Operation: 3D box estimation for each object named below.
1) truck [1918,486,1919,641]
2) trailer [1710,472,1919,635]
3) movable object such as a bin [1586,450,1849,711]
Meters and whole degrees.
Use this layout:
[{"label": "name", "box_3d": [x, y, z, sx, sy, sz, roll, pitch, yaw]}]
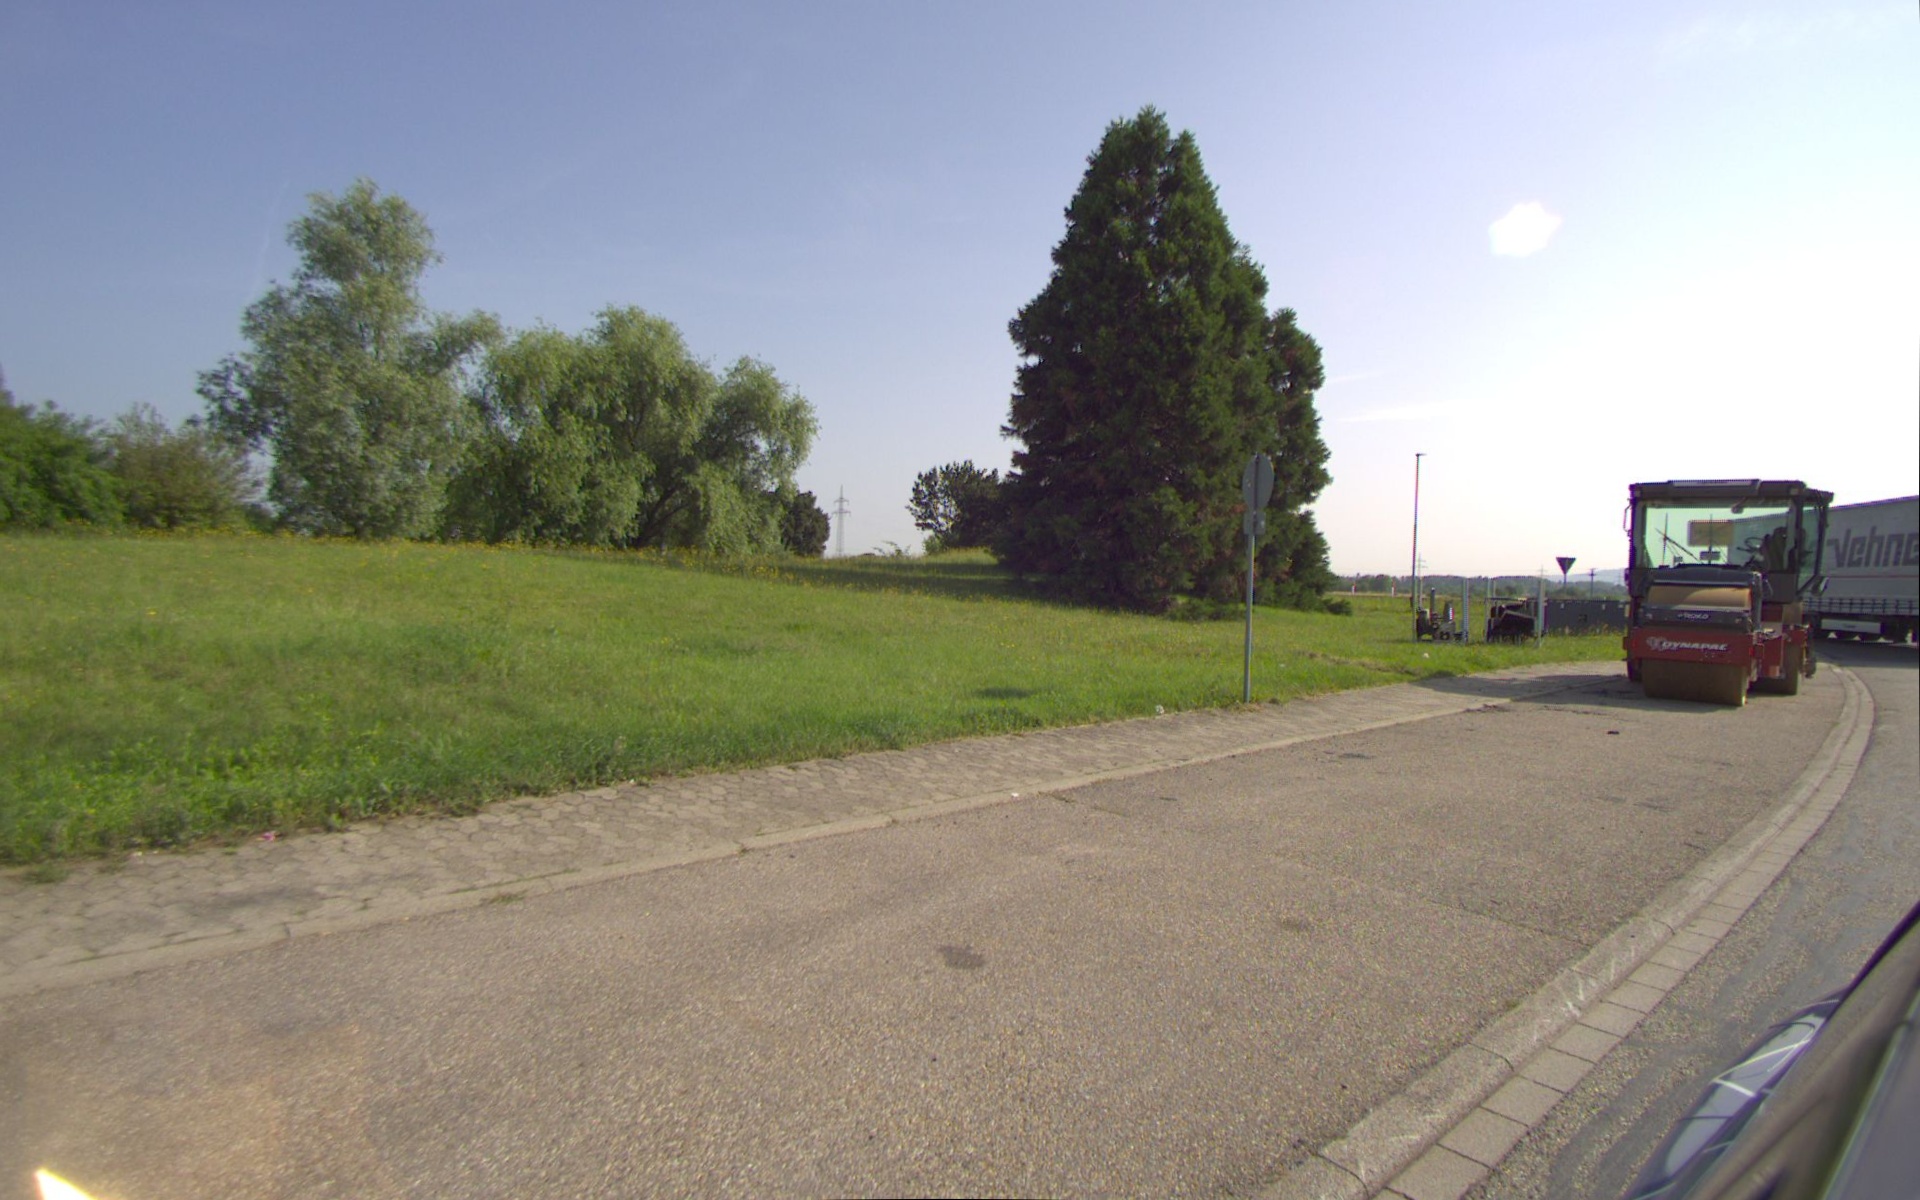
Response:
[{"label": "truck", "box_3d": [25.800, -0.892, 23.753, 3.368, 4.260, 6.036, -1, 0, 29]}, {"label": "trailer", "box_3d": [27.842, -1.294, 30.394, 3.449, 4.260, 14.168, -1, 1, 15]}, {"label": "movable object such as a bin", "box_3d": [11.221, -0.318, 14.778, 2.428, 3.048, 5.666, 4, 3, 42]}]
